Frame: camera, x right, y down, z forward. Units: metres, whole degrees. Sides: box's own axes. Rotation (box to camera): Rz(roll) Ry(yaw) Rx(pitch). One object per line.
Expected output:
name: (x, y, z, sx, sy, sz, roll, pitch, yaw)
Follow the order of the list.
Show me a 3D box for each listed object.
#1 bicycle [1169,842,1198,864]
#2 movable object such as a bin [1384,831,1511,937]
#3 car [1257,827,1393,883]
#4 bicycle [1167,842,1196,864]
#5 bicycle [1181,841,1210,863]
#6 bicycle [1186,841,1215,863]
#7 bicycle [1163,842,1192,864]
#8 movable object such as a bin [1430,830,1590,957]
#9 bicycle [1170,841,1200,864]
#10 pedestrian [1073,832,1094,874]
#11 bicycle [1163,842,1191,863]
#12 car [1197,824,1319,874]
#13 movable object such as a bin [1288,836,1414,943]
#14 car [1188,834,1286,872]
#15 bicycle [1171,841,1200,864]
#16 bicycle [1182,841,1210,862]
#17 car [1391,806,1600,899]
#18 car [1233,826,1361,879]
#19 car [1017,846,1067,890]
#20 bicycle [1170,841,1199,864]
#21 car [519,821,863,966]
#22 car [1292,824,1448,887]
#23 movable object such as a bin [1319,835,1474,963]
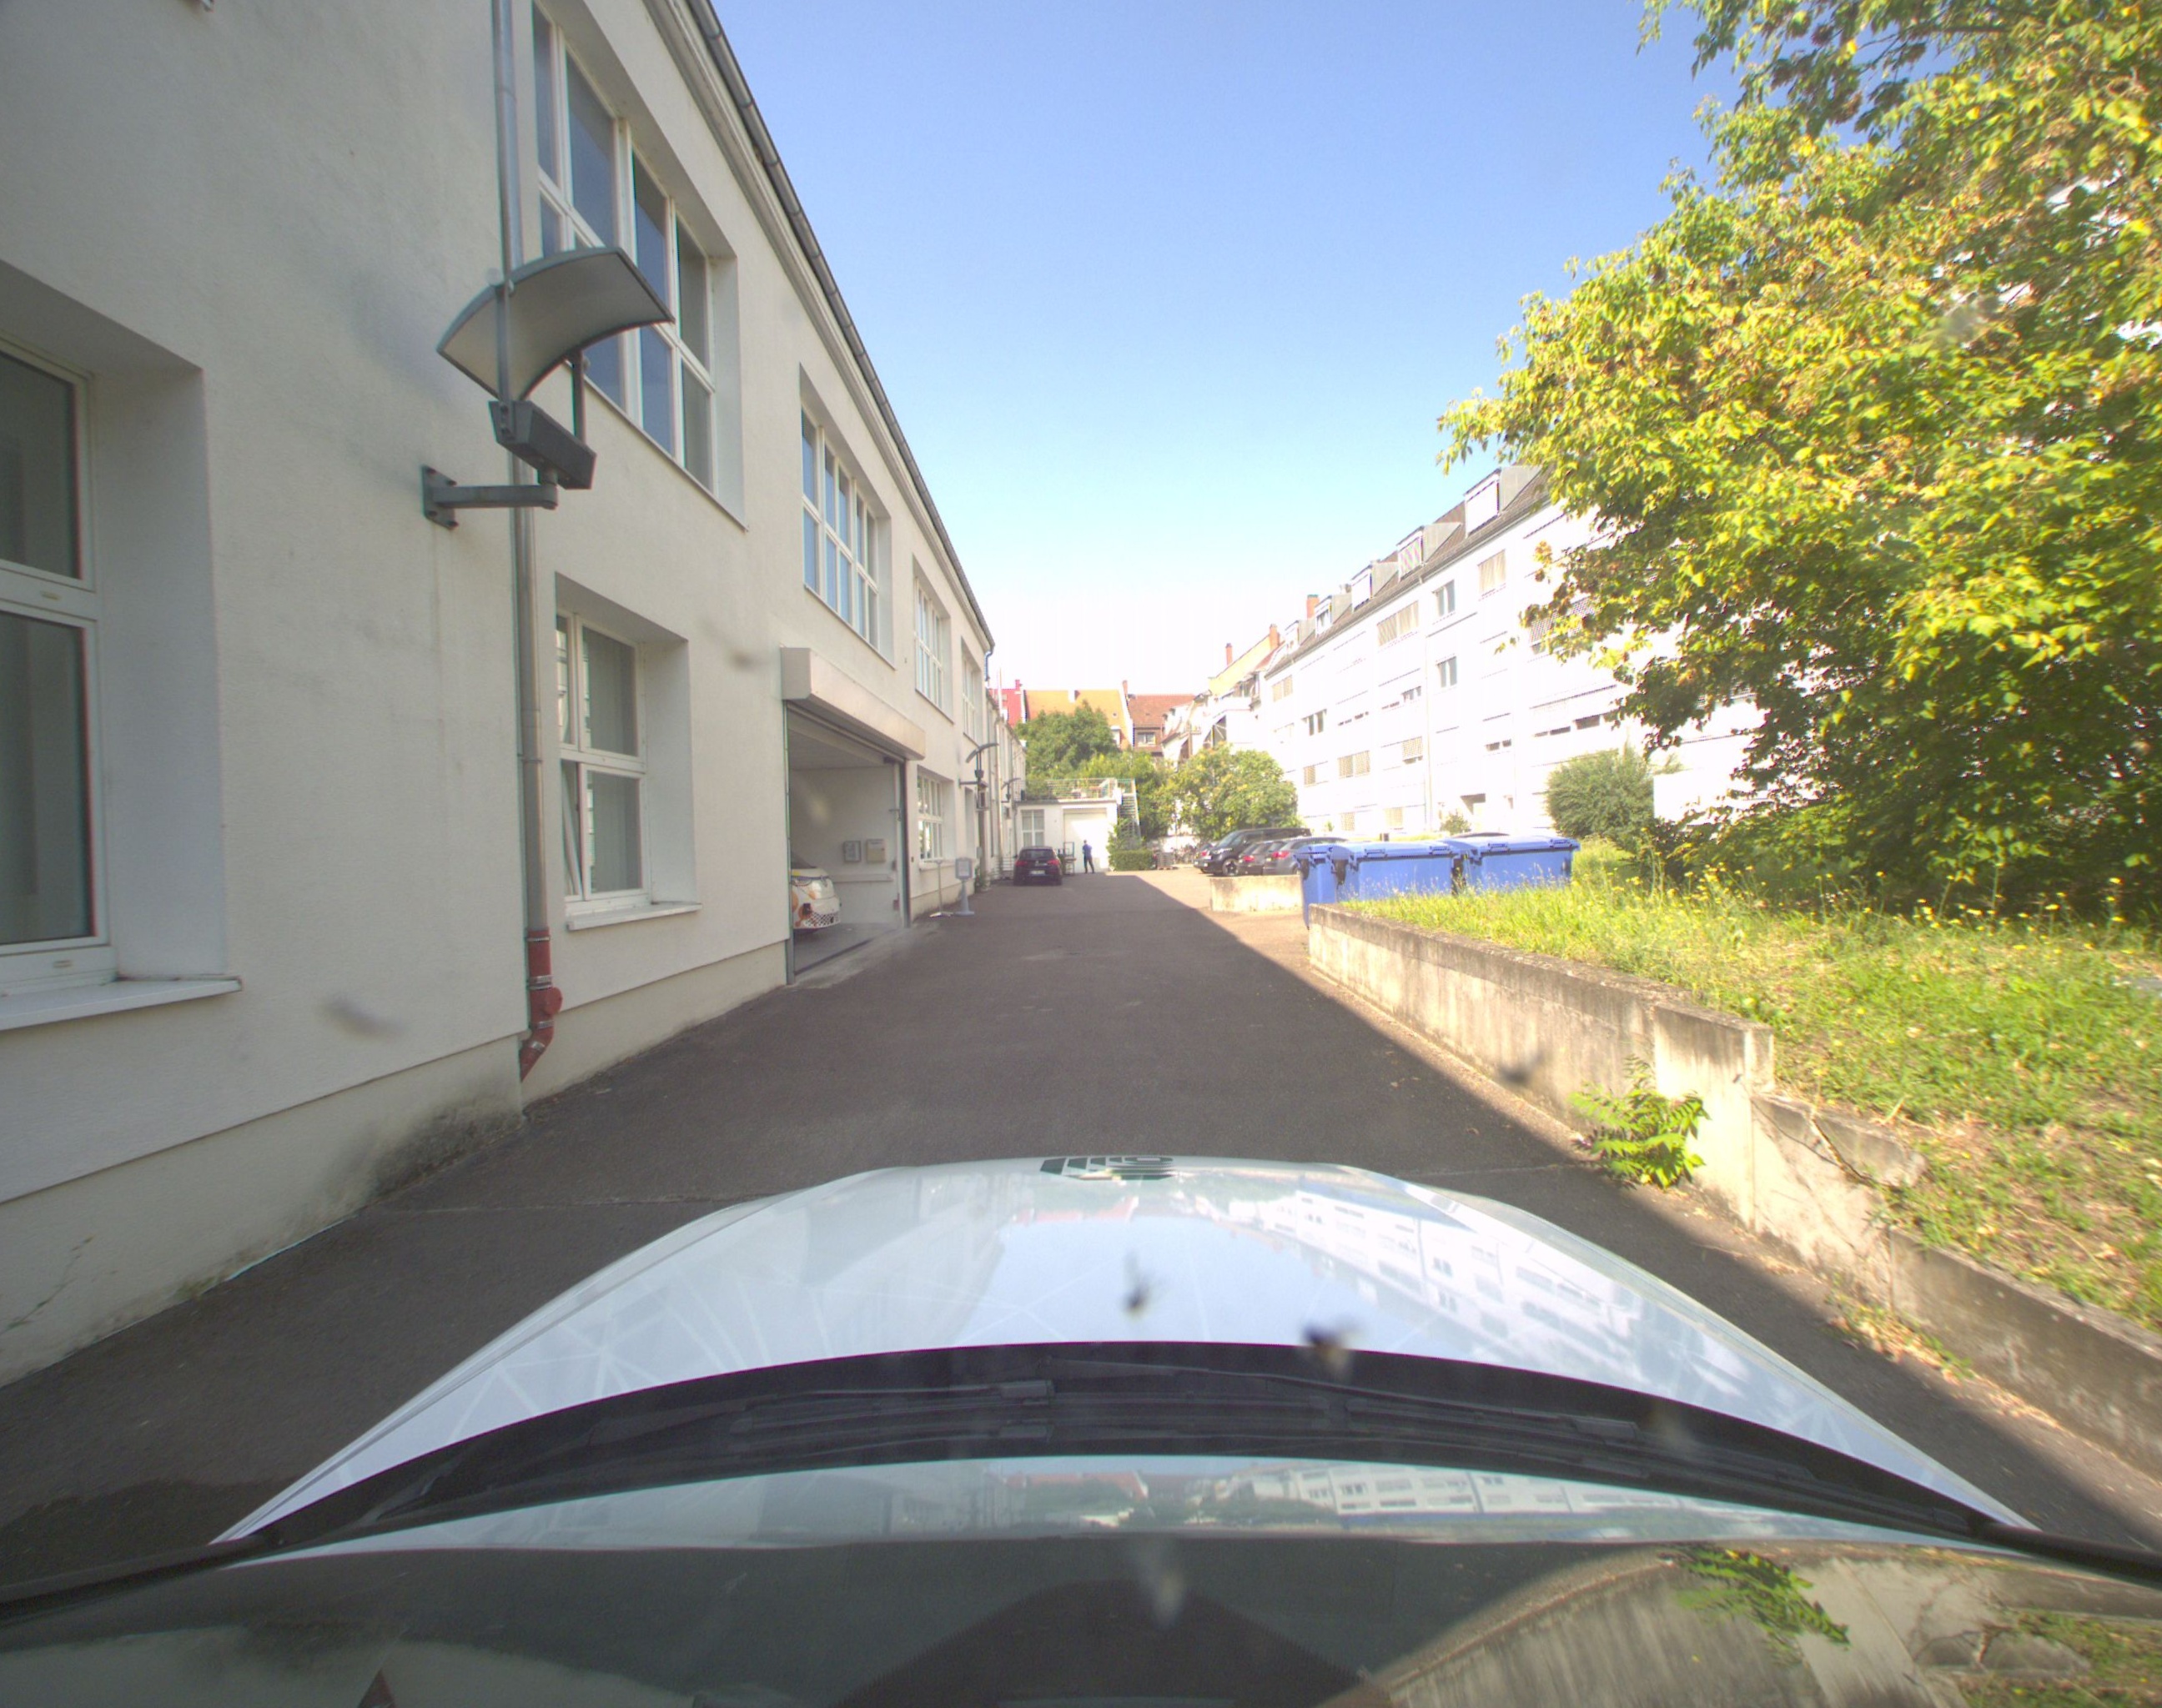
bicycle: (6.125, -0.082, 48.511, 1.613, 1.214, 0.328, -4, 0, 10)
movable object such as a bin: (5.013, 0.390, 11.240, 1.229, 1.340, 1.118, -3, 0, 3)
car: (7.990, 0.028, 26.855, 3.856, 1.589, 1.876, -3, 0, -5)
bicycle: (6.051, -0.080, 48.875, 1.612, 1.214, 0.328, -4, 0, 13)
bicycle: (7.016, -0.126, 49.852, 1.612, 1.214, 0.425, -4, 0, 12)
bicycle: (7.125, -0.128, 48.416, 1.611, 1.214, 0.328, -4, 0, 15)
bicycle: (5.869, -0.073, 49.552, 1.618, 1.214, 0.424, -4, 0, -1)
movable object such as a bin: (4.968, 0.432, 9.522, 1.224, 1.340, 1.075, -3, 0, -5)
bicycle: (6.044, -0.076, 47.445, 1.617, 1.214, 0.327, -4, 0, 1)
pedestrian: (0.140, -0.027, 40.264, 0.910, 2.013, 0.935, -3, 0, 0)
bicycle: (5.958, -0.080, 50.789, 1.620, 1.214, 0.423, -4, 0, -5)
car: (7.325, -0.207, 33.874, 4.500, 1.794, 1.877, -3, 0, -9)
movable object such as a bin: (3.693, 0.468, 11.275, 1.296, 1.340, 1.194, -3, 0, -1)
car: (7.024, -0.041, 36.758, 3.931, 1.482, 1.769, -3, 0, -9)
bicycle: (6.113, -0.080, 47.767, 1.617, 1.214, 0.327, -4, 0, 1)
bicycle: (7.166, -0.136, 50.879, 1.612, 1.214, 0.425, -4, 0, 12)
car: (9.100, -0.045, 18.098, 3.610, 1.544, 1.801, -7, 0, -2)
car: (7.817, -0.051, 29.674, 4.107, 1.691, 1.769, -3, 0, -3)
car: (-1.418, 0.493, 30.694, 1.683, 1.459, 3.921, -3, 0, -1)
bicycle: (6.086, -0.079, 48.060, 1.617, 1.214, 0.327, -4, 0, 1)
car: (-6.386, 0.614, 13.793, 4.731, 2.092, 2.055, -2, 0, 0)
car: (8.345, 0.030, 23.653, 3.799, 1.589, 1.891, -3, 0, -10)
movable object such as a bin: (3.642, 0.493, 9.522, 1.306, 1.340, 1.099, -3, 0, -3)
